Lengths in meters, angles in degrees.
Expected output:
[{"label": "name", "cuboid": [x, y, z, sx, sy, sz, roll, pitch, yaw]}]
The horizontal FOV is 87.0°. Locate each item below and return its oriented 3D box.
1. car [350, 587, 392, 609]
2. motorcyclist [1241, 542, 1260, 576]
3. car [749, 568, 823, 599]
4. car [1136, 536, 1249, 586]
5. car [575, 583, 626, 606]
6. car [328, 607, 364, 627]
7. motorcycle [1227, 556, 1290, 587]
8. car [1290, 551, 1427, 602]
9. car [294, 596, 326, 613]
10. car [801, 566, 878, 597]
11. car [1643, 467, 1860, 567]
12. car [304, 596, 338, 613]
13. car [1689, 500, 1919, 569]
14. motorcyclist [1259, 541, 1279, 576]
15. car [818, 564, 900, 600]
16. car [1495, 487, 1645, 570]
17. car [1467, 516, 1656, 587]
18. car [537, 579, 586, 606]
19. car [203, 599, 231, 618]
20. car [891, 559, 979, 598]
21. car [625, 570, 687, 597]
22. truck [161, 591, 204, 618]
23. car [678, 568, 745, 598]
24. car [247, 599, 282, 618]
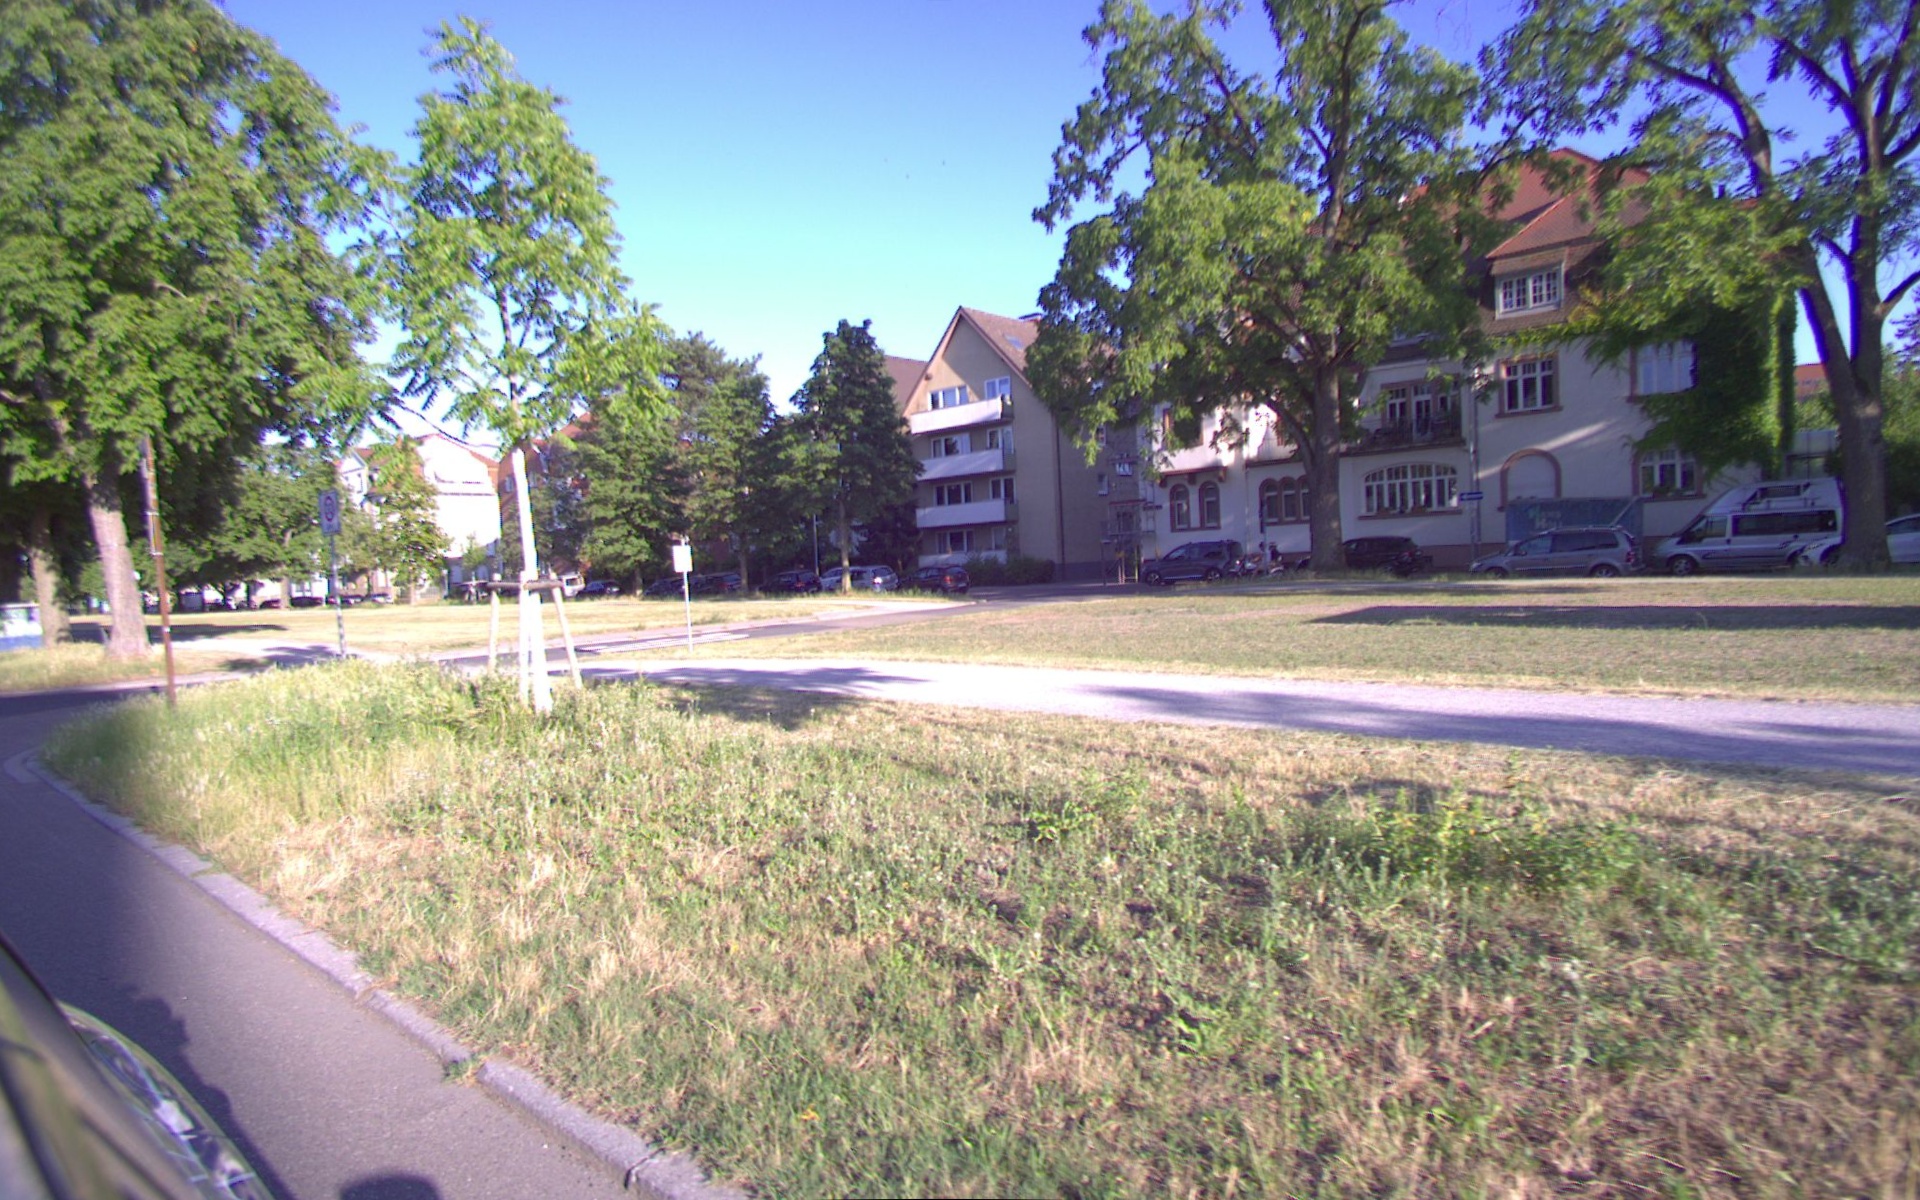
[{"label": "car", "cuboid": [-52.276, -0.170, 89.795, 3.998, 1.715, 1.973, -2, 2, 41]}, {"label": "motorcyclist", "cuboid": [10.308, -1.463, 35.894, 0.571, 1.158, 0.746, -3, 2, 20]}, {"label": "car", "cuboid": [-8.840, -0.823, 51.270, 3.637, 1.379, 1.542, -2, 2, 37]}, {"label": "car", "cuboid": [9.779, -1.627, 42.745, 4.281, 1.838, 1.605, -2, 2, 37]}, {"label": "car", "cuboid": [-26.645, -0.406, 74.921, 4.001, 1.617, 1.971, 0, 1, 44]}, {"label": "car", "cuboid": [-66.504, 1.859, 109.531, 3.995, 1.921, 1.975, -2, 2, 38]}, {"label": "motorcycle", "cuboid": [10.532, -1.021, 35.718, 2.093, 0.964, 0.563, -3, 2, 17]}, {"label": "car", "cuboid": [15.129, -0.876, 38.548, 4.441, 1.673, 1.909, -2, 2, 41]}, {"label": "car", "cuboid": [-75.136, 0.504, 117.012, 3.995, 1.859, 1.974, 0, 0, 38]}, {"label": "car", "cuboid": [-6.855, -1.058, 57.376, 3.993, 1.510, 1.976, -2, 2, 37]}, {"label": "car", "cuboid": [23.769, -2.382, 30.561, 5.042, 2.659, 1.925, 0, 0, 41]}, {"label": "car", "cuboid": [-71.318, 0.510, 112.900, 3.995, 1.896, 1.974, 0, 0, 38]}, {"label": "car", "cuboid": [23.103, -1.763, 27.485, 5.171, 1.536, 1.973, -1, 3, 42]}, {"label": "motorcyclist", "cuboid": [10.842, -1.462, 35.493, 0.571, 1.158, 0.746, -3, 2, 20]}, {"label": "car", "cuboid": [-4.785, -0.839, 47.657, 3.637, 1.418, 1.672, -2, 2, 37]}, {"label": "car", "cuboid": [20.236, -2.324, 33.638, 3.998, 2.559, 1.973, 1, 4, 41]}, {"label": "car", "cuboid": [17.096, -1.360, 28.883, 4.341, 1.741, 1.974, -2, 2, 40]}, {"label": "car", "cuboid": [-31.091, -0.556, 78.906, 4.001, 2.029, 1.971, 0, -1, 44]}, {"label": "car", "cuboid": [-90.734, 1.060, 123.528, 4.001, 2.028, 1.972, -2, 2, 44]}, {"label": "car", "cuboid": [-1.137, -0.941, 45.009, 1.868, 1.533, 3.683, -5, 2, -43]}, {"label": "car", "cuboid": [-17.594, -0.932, 58.494, 3.637, 1.340, 1.542, -2, 2, 37]}, {"label": "truck", "cuboid": [-102.728, 0.613, 133.699, 7.704, 3.169, 2.751, -2, 3, 40]}, {"label": "car", "cuboid": [-13.647, -0.925, 55.414, 3.637, 1.426, 1.542, -2, 2, 37]}, {"label": "car", "cuboid": [-75.671, 0.863, 110.074, 3.996, 2.029, 2.099, 0, 0, 40]}]
